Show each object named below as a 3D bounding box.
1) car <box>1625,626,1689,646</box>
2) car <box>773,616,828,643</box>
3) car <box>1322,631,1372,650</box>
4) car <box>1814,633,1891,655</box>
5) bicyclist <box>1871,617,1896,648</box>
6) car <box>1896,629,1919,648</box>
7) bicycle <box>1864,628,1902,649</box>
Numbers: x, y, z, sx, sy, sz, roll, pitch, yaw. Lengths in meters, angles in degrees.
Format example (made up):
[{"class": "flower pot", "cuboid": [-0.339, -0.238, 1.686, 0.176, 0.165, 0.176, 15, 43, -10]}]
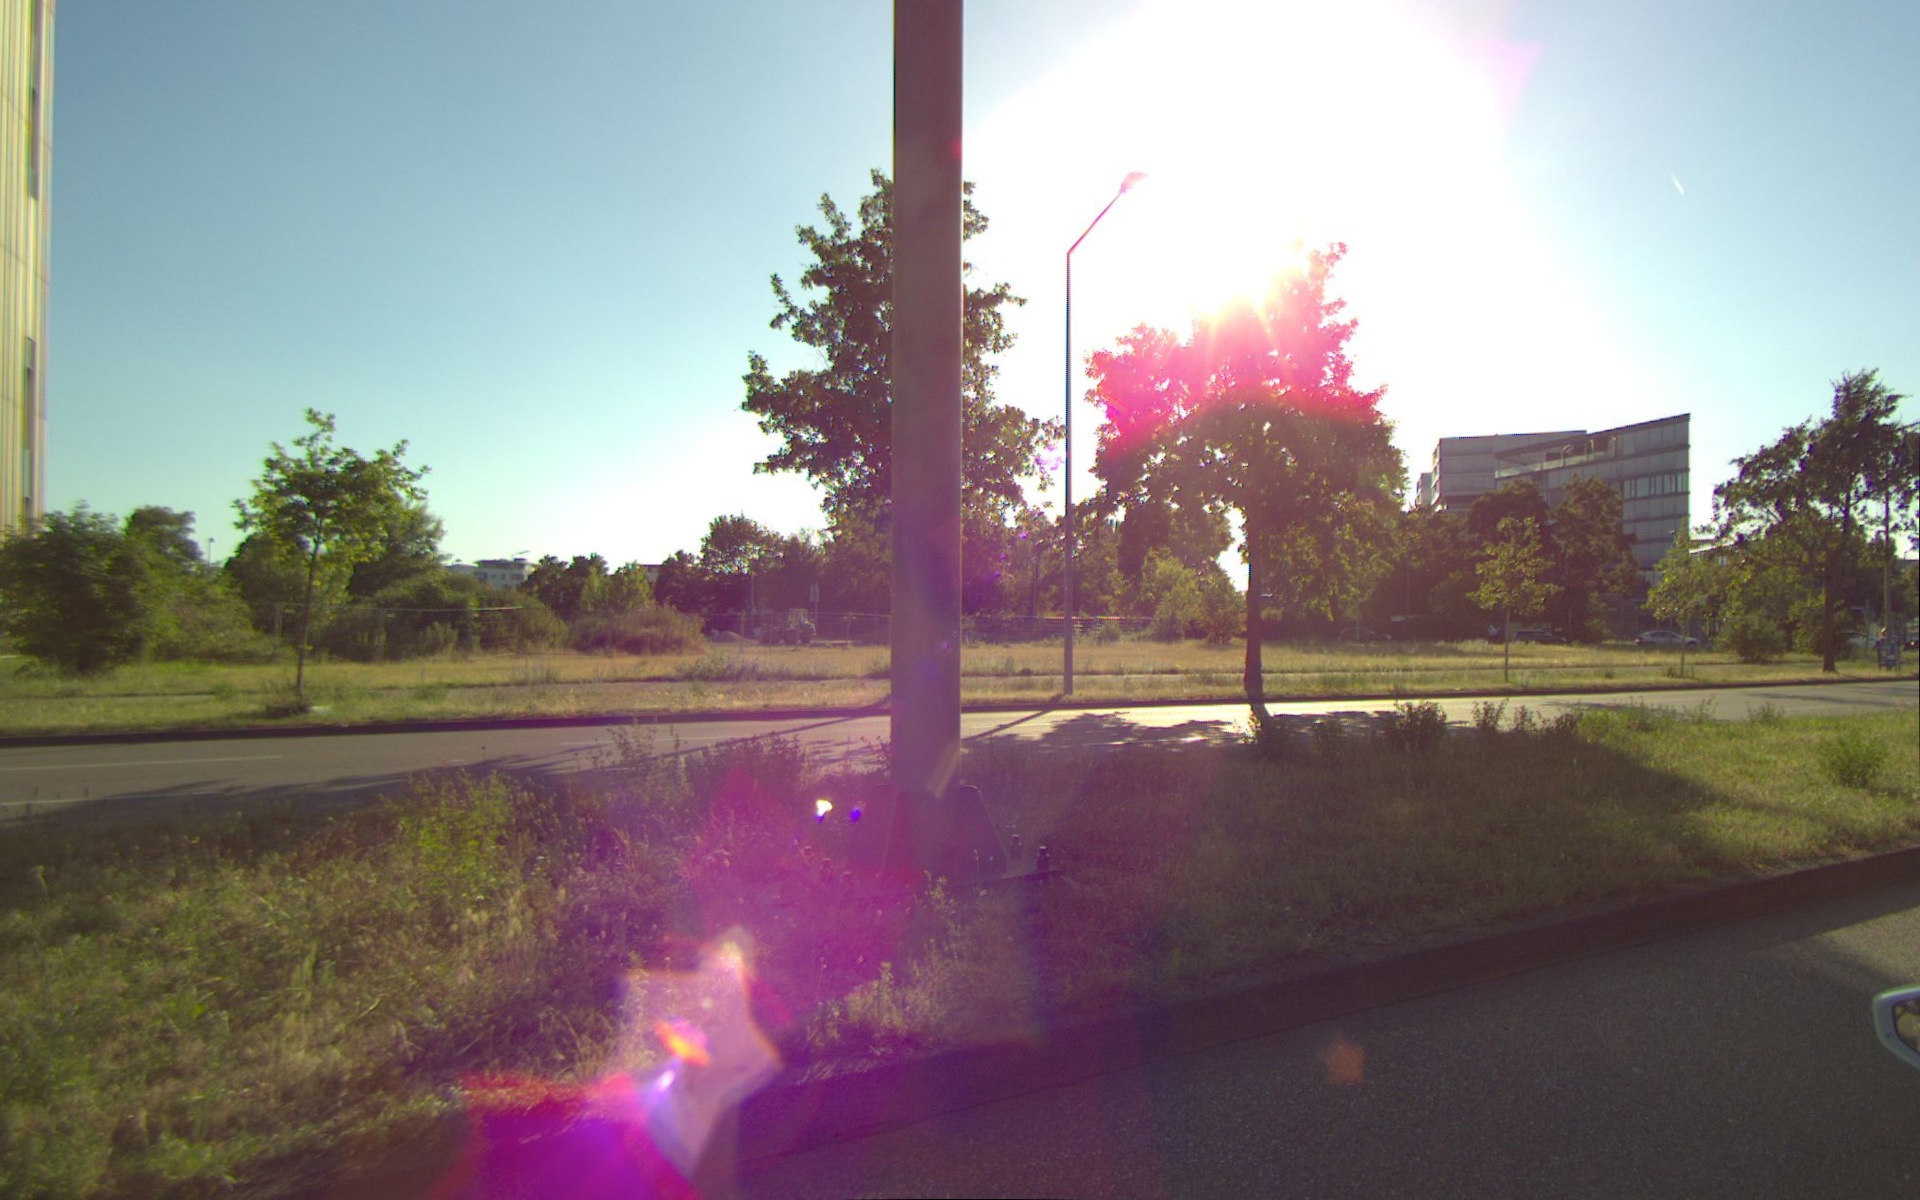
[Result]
[{"class": "car", "cuboid": [53.706, 2.757, 77.457, 3.636, 1.528, 1.875, 0, -1, 20]}, {"class": "car", "cuboid": [-12.309, 2.275, 77.409, 3.816, 2.040, 1.994, -1, -1, 34]}, {"class": "car", "cuboid": [32.866, 3.423, 85.364, 3.915, 1.528, 1.875, 0, -1, 20]}, {"class": "car", "cuboid": [63.979, 3.121, 72.101, 3.911, 1.528, 1.842, -1, -1, 36]}, {"class": "bicyclist", "cuboid": [51.677, 1.821, 56.209, 0.696, 1.688, 0.831, 0, -1, 11]}, {"class": "car", "cuboid": [74.598, 2.979, 78.308, 3.579, 1.460, 1.656, 1, -2, -35]}, {"class": "bicycle", "cuboid": [51.677, 2.129, 56.285, 0.711, 1.133, 1.825, 0, -1, 11]}]
